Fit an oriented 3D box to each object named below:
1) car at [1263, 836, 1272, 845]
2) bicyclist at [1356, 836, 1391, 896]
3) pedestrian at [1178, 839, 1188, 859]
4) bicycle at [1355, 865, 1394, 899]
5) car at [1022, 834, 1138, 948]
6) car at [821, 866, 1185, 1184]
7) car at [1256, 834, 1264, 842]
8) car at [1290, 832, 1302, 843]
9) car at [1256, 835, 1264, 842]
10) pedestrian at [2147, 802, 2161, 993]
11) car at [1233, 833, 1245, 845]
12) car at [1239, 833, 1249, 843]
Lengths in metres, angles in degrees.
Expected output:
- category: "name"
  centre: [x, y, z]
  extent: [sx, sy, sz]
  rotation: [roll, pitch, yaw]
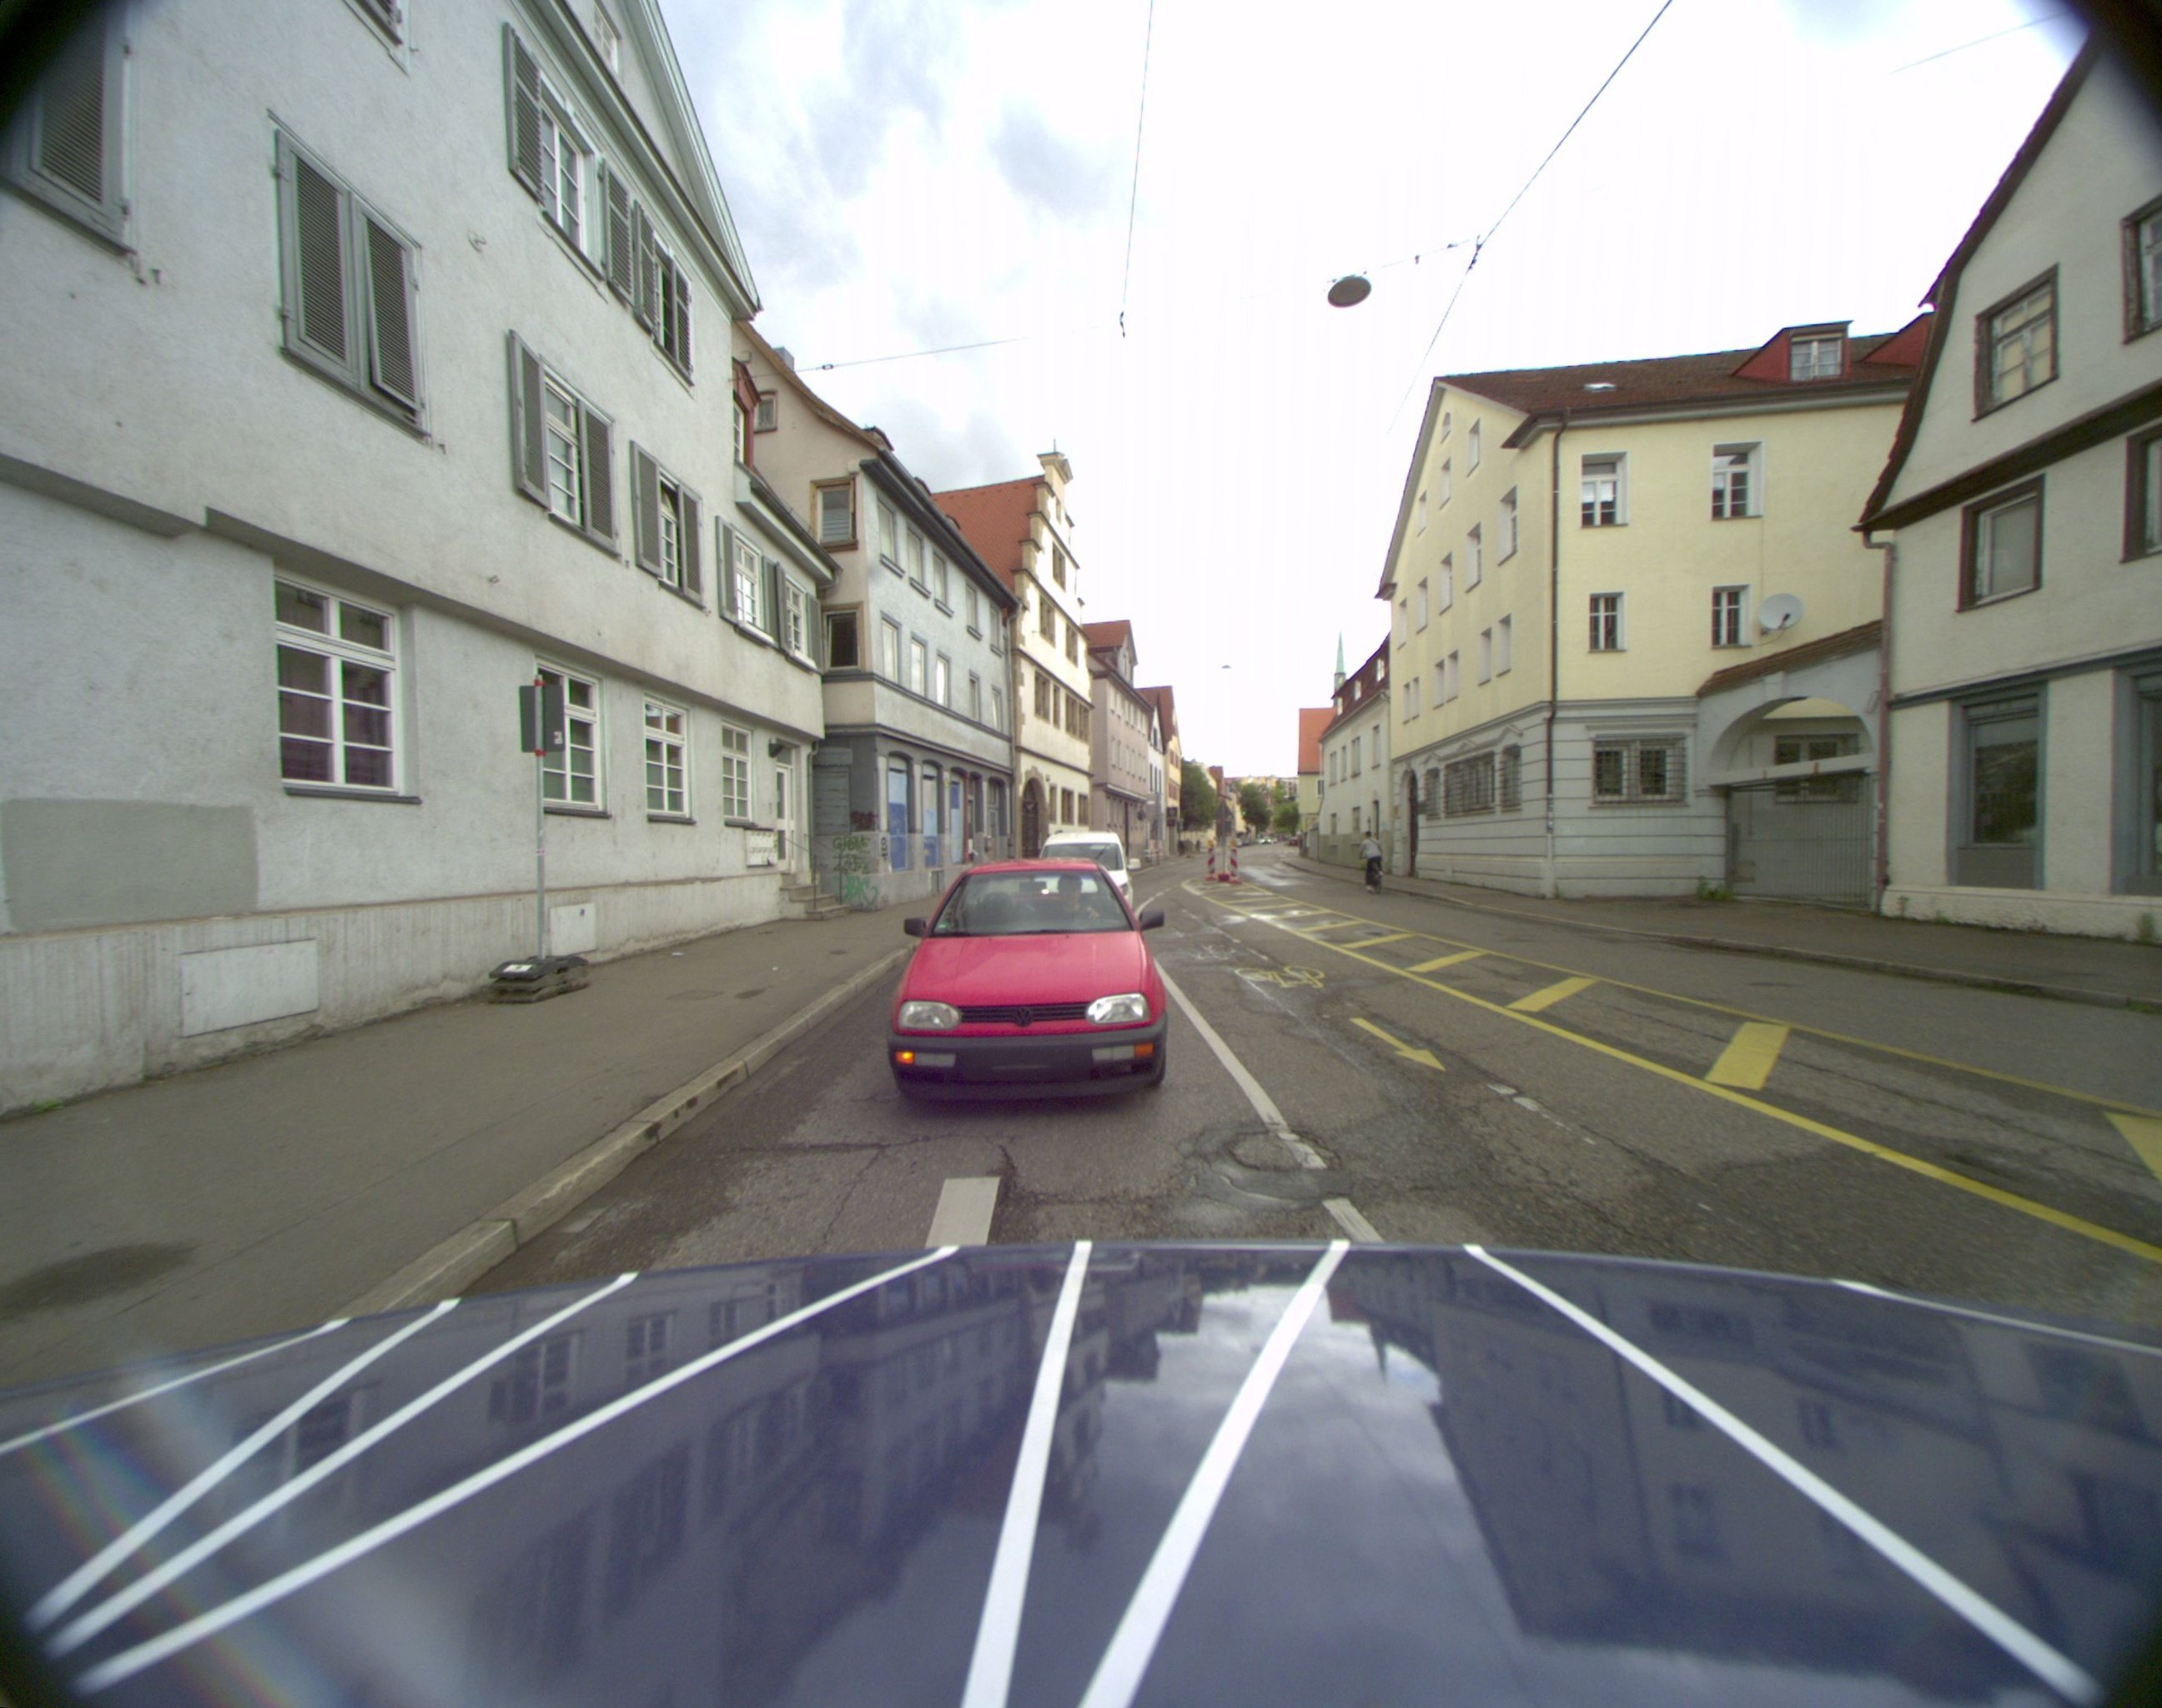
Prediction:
- category: "car"
  centre: [42.412, -3.118, 172.654]
  extent: [1.996, 2.002, 4.003]
  rotation: [-1, 1, 12]
- category: "bicyclist"
  centre: [8.378, 0.344, 21.804]
  extent: [0.725, 1.691, 0.811]
  rotation: [-1, 1, 4]
- category: "pedestrian"
  centre: [9.870, -0.510, 73.615]
  extent: [0.878, 1.888, 0.897]
  rotation: [-1, 1, 2]
- category: "bicycle"
  centre: [8.420, 0.789, 21.854]
  extent: [0.542, 0.887, 1.881]
  rotation: [-1, 0, 5]
- category: "car"
  centre: [0.011, 0.569, 14.143]
  extent: [1.804, 1.781, 4.348]
  rotation: [-1, 0, 1]
- category: "car"
  centre: [-0.379, 0.926, 5.943]
  extent: [1.804, 1.458, 4.000]
  rotation: [-4, 0, 1]
- category: "car"
  centre: [44.459, -4.033, 188.752]
  extent: [1.996, 2.002, 4.003]
  rotation: [-1, 1, 12]
- category: "car"
  centre: [41.975, -3.245, 148.605]
  extent: [2.057, 2.002, 4.003]
  rotation: [-1, 1, 12]
- category: "car"
  centre: [47.940, -4.123, 203.233]
  extent: [1.996, 2.002, 4.003]
  rotation: [-1, 1, 12]
- category: "pedestrian"
  centre: [11.107, 0.405, 6.961]
  extent: [1.057, 1.875, 1.092]
  rotation: [-2, 0, 3]
- category: "car"
  centre: [28.105, -2.712, 135.412]
  extent: [1.996, 2.002, 4.003]
  rotation: [-1, 1, 12]
- category: "car"
  centre: [33.492, -3.323, 156.214]
  extent: [1.996, 2.002, 4.003]
  rotation: [-1, 1, 12]
